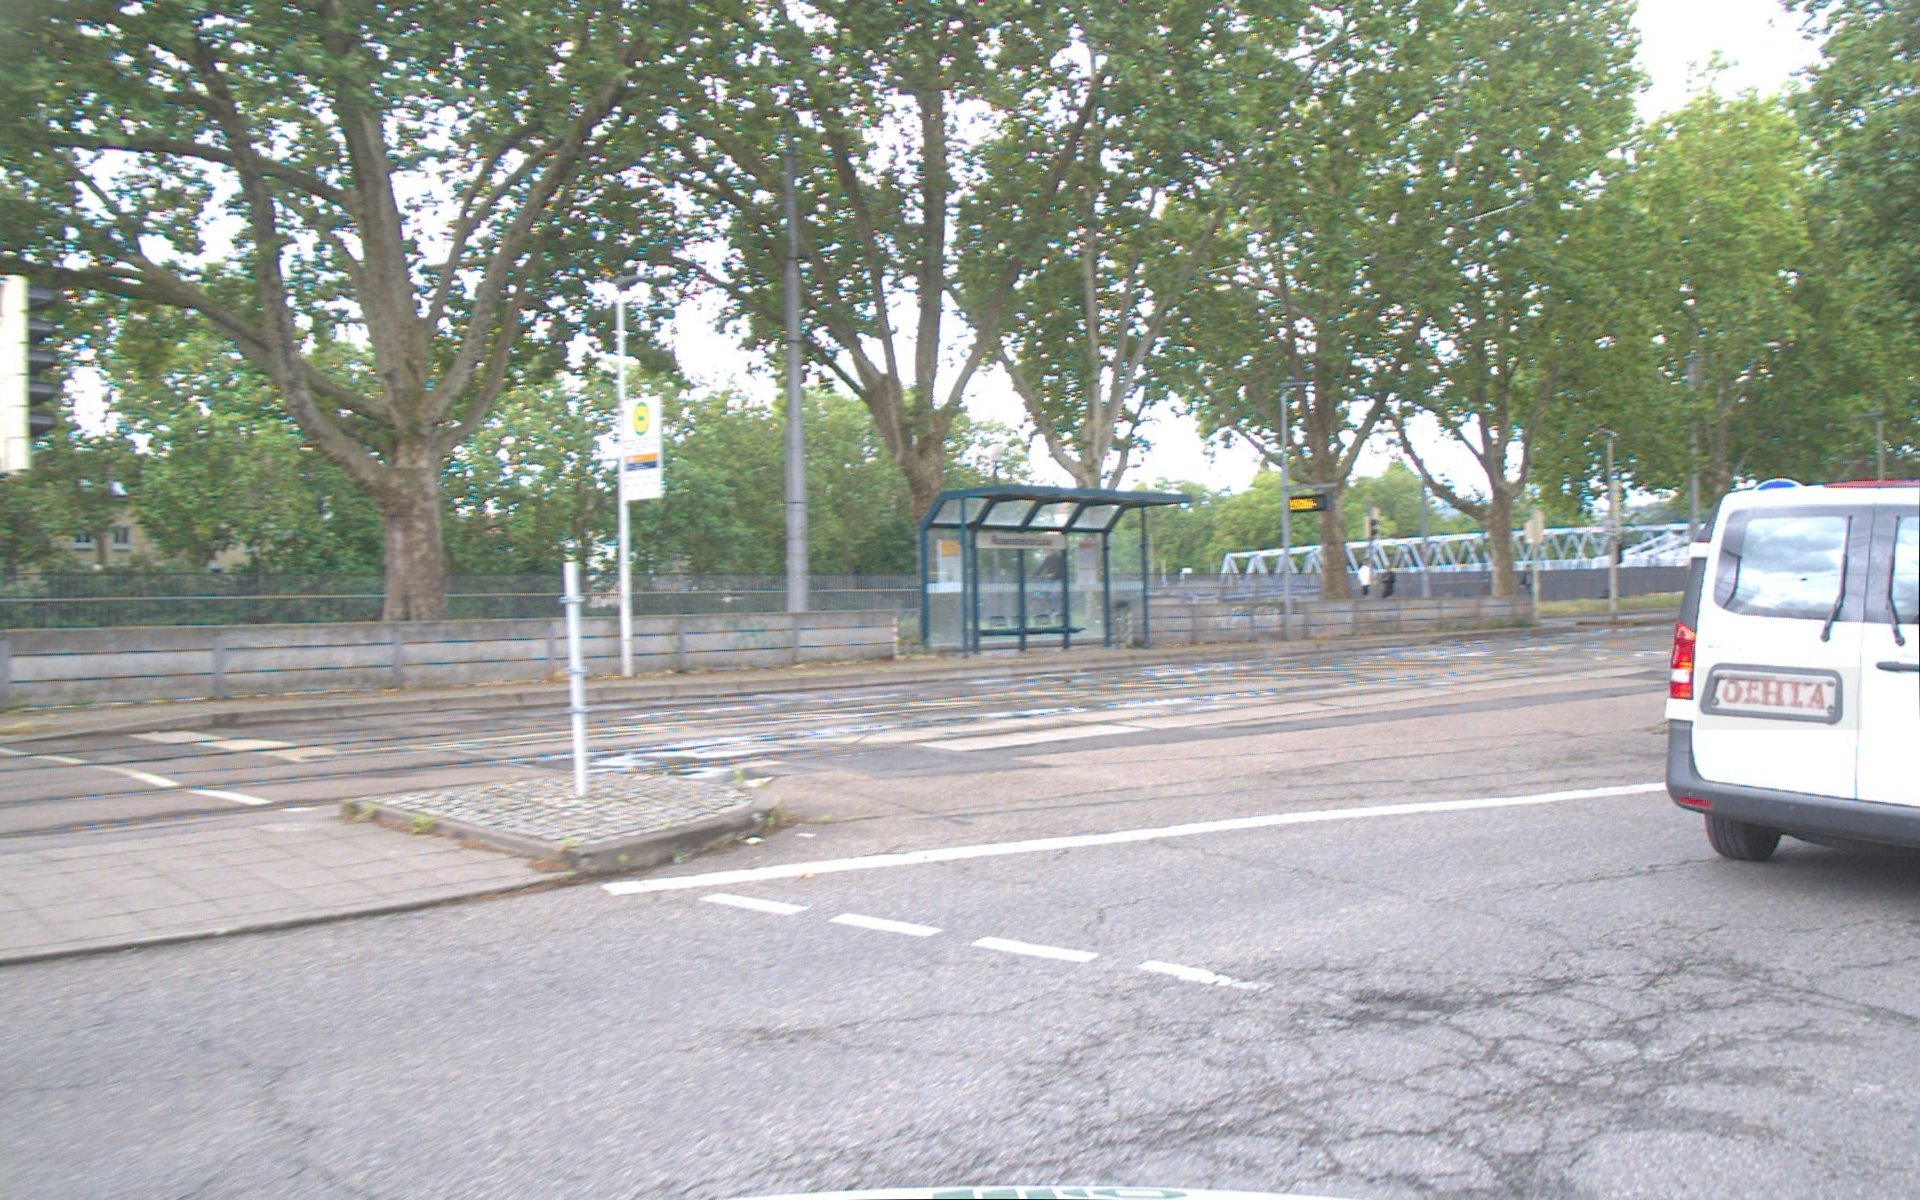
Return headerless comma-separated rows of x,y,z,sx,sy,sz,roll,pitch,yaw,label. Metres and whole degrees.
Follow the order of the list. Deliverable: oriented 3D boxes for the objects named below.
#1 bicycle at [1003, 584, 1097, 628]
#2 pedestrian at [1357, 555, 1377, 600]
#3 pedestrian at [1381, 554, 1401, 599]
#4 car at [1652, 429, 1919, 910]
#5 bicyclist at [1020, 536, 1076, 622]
2.214,0.153,40.434,0.918,1.032,2.480,-2,-2,43,bicycle
13.693,-0.750,55.656,0.464,1.477,0.508,-2,-2,40,pedestrian
14.330,-0.774,55.006,0.464,1.477,0.508,-2,-2,40,pedestrian
5.630,0.300,8.816,4.662,2.049,1.926,0,0,-44,car
2.147,-0.500,40.415,0.942,2.049,0.970,-2,-2,44,bicyclist
